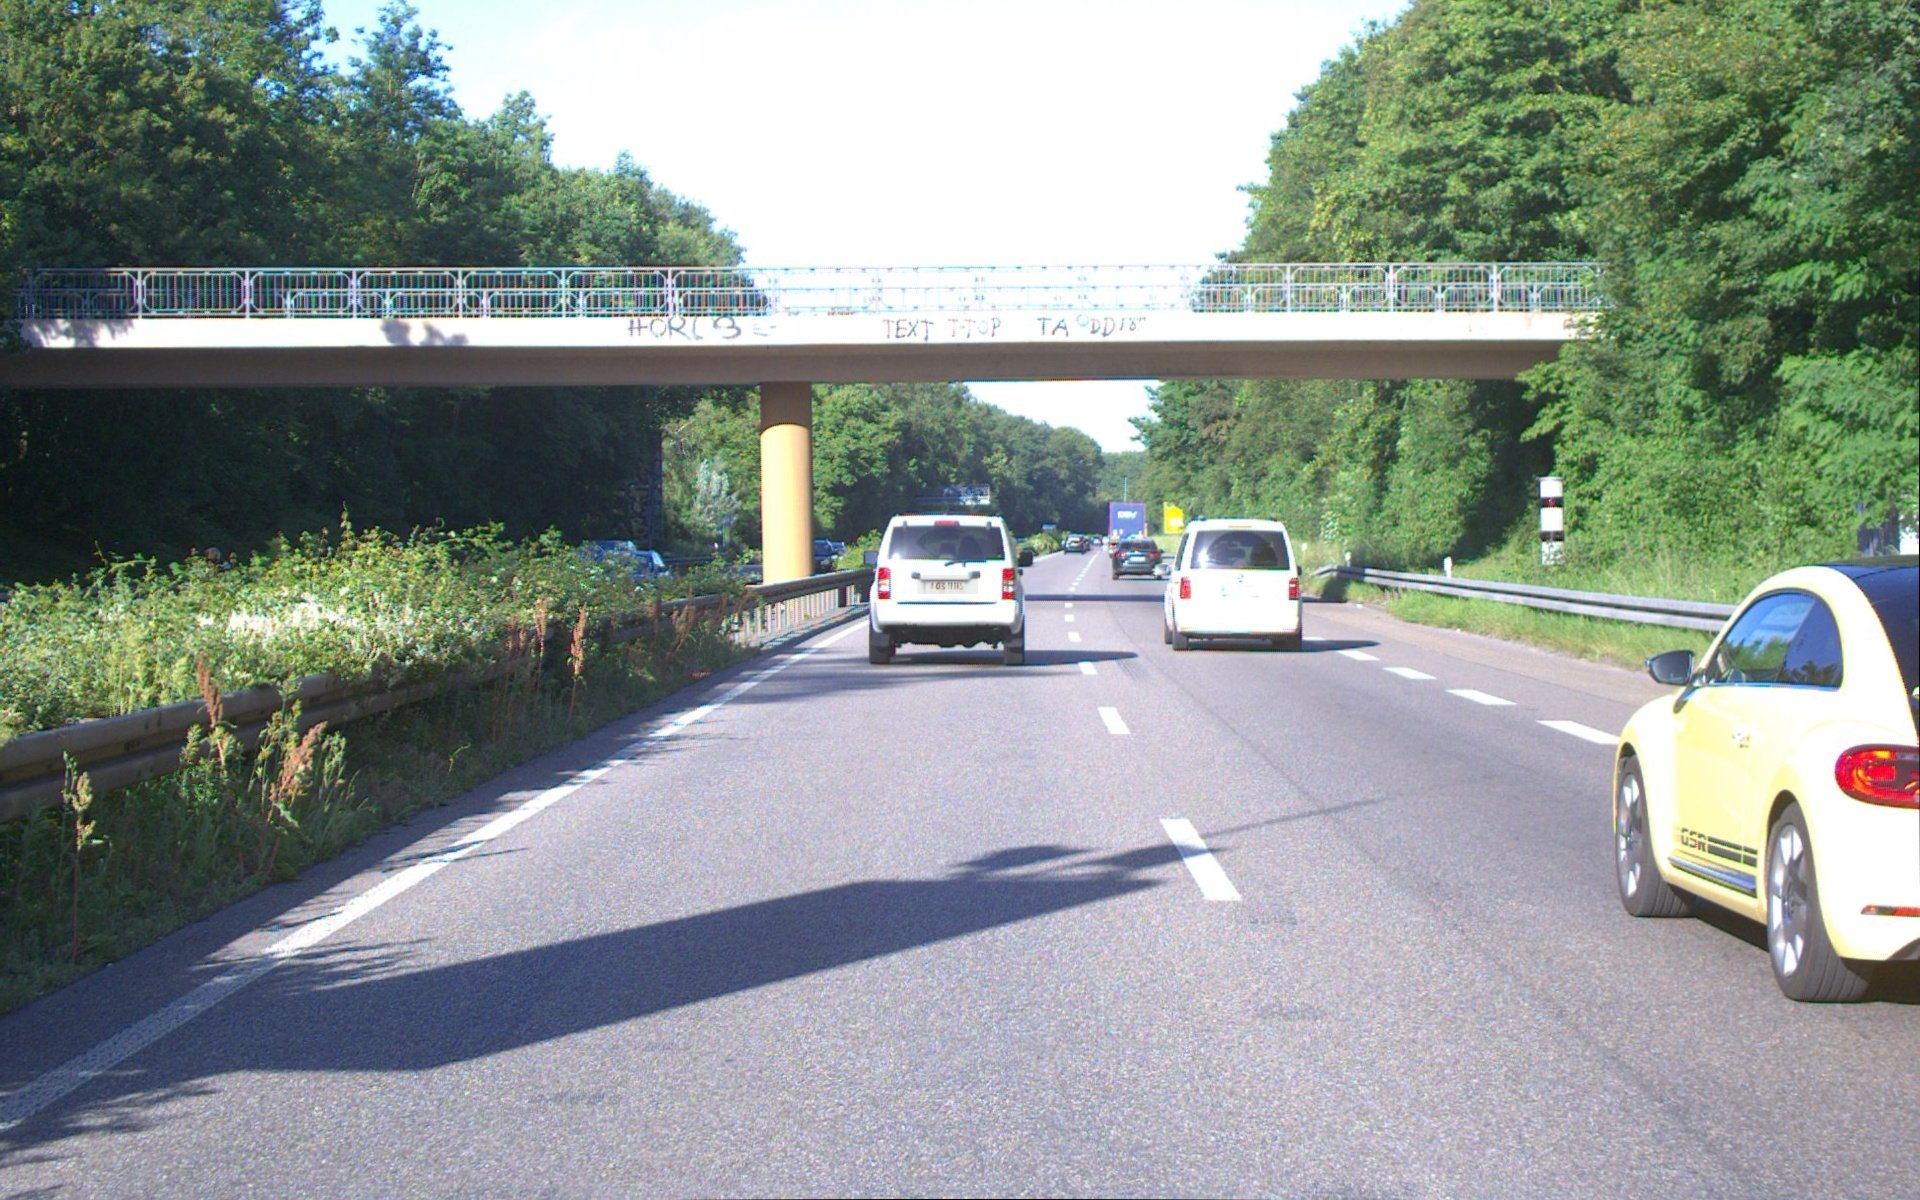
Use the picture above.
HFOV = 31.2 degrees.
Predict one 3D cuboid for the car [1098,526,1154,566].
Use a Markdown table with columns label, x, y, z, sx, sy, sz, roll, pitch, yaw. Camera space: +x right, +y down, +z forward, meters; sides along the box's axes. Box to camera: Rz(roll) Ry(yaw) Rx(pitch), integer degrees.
| label | x | y | z | sx | sy | sz | roll | pitch | yaw |
| --- | --- | --- | --- | --- | --- | --- | --- | --- | --- |
| car | 5.960 | -1.964 | 123.819 | 1.994 | 1.393 | 4.000 | -1 | 1 | 2 |

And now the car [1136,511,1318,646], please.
| label | x | y | z | sx | sy | sz | roll | pitch | yaw |
| --- | --- | --- | --- | --- | --- | --- | --- | --- | --- |
| car | 3.658 | -0.332 | 47.840 | 1.863 | 1.764 | 4.470 | -1 | 1 | -4 |

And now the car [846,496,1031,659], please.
| label | x | y | z | sx | sy | sz | roll | pitch | yaw |
| --- | --- | --- | --- | --- | --- | --- | --- | --- | --- |
| car | -0.293 | -0.297 | 41.463 | 2.085 | 1.822 | 4.000 | 1 | 1 | -1 |

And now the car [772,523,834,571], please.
| label | x | y | z | sx | sy | sz | roll | pitch | yaw |
| --- | --- | --- | --- | --- | --- | --- | --- | --- | --- |
| car | -5.840 | -1.985 | 128.370 | 1.961 | 1.718 | 4.592 | -1 | 1 | 1 |

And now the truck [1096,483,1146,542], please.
| label | x | y | z | sx | sy | sz | roll | pitch | yaw |
| --- | --- | --- | --- | --- | --- | --- | --- | --- | --- |
| truck | 11.610 | -6.267 | 247.778 | 3.496 | 4.158 | 8.861 | -1 | 1 | 2 |

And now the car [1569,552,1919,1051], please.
| label | x | y | z | sx | sy | sz | roll | pitch | yaw |
| --- | --- | --- | --- | --- | --- | --- | --- | --- | --- |
| car | 3.582 | 0.581 | 12.494 | 1.879 | 1.456 | 4.356 | 0 | 1 | -1 |
